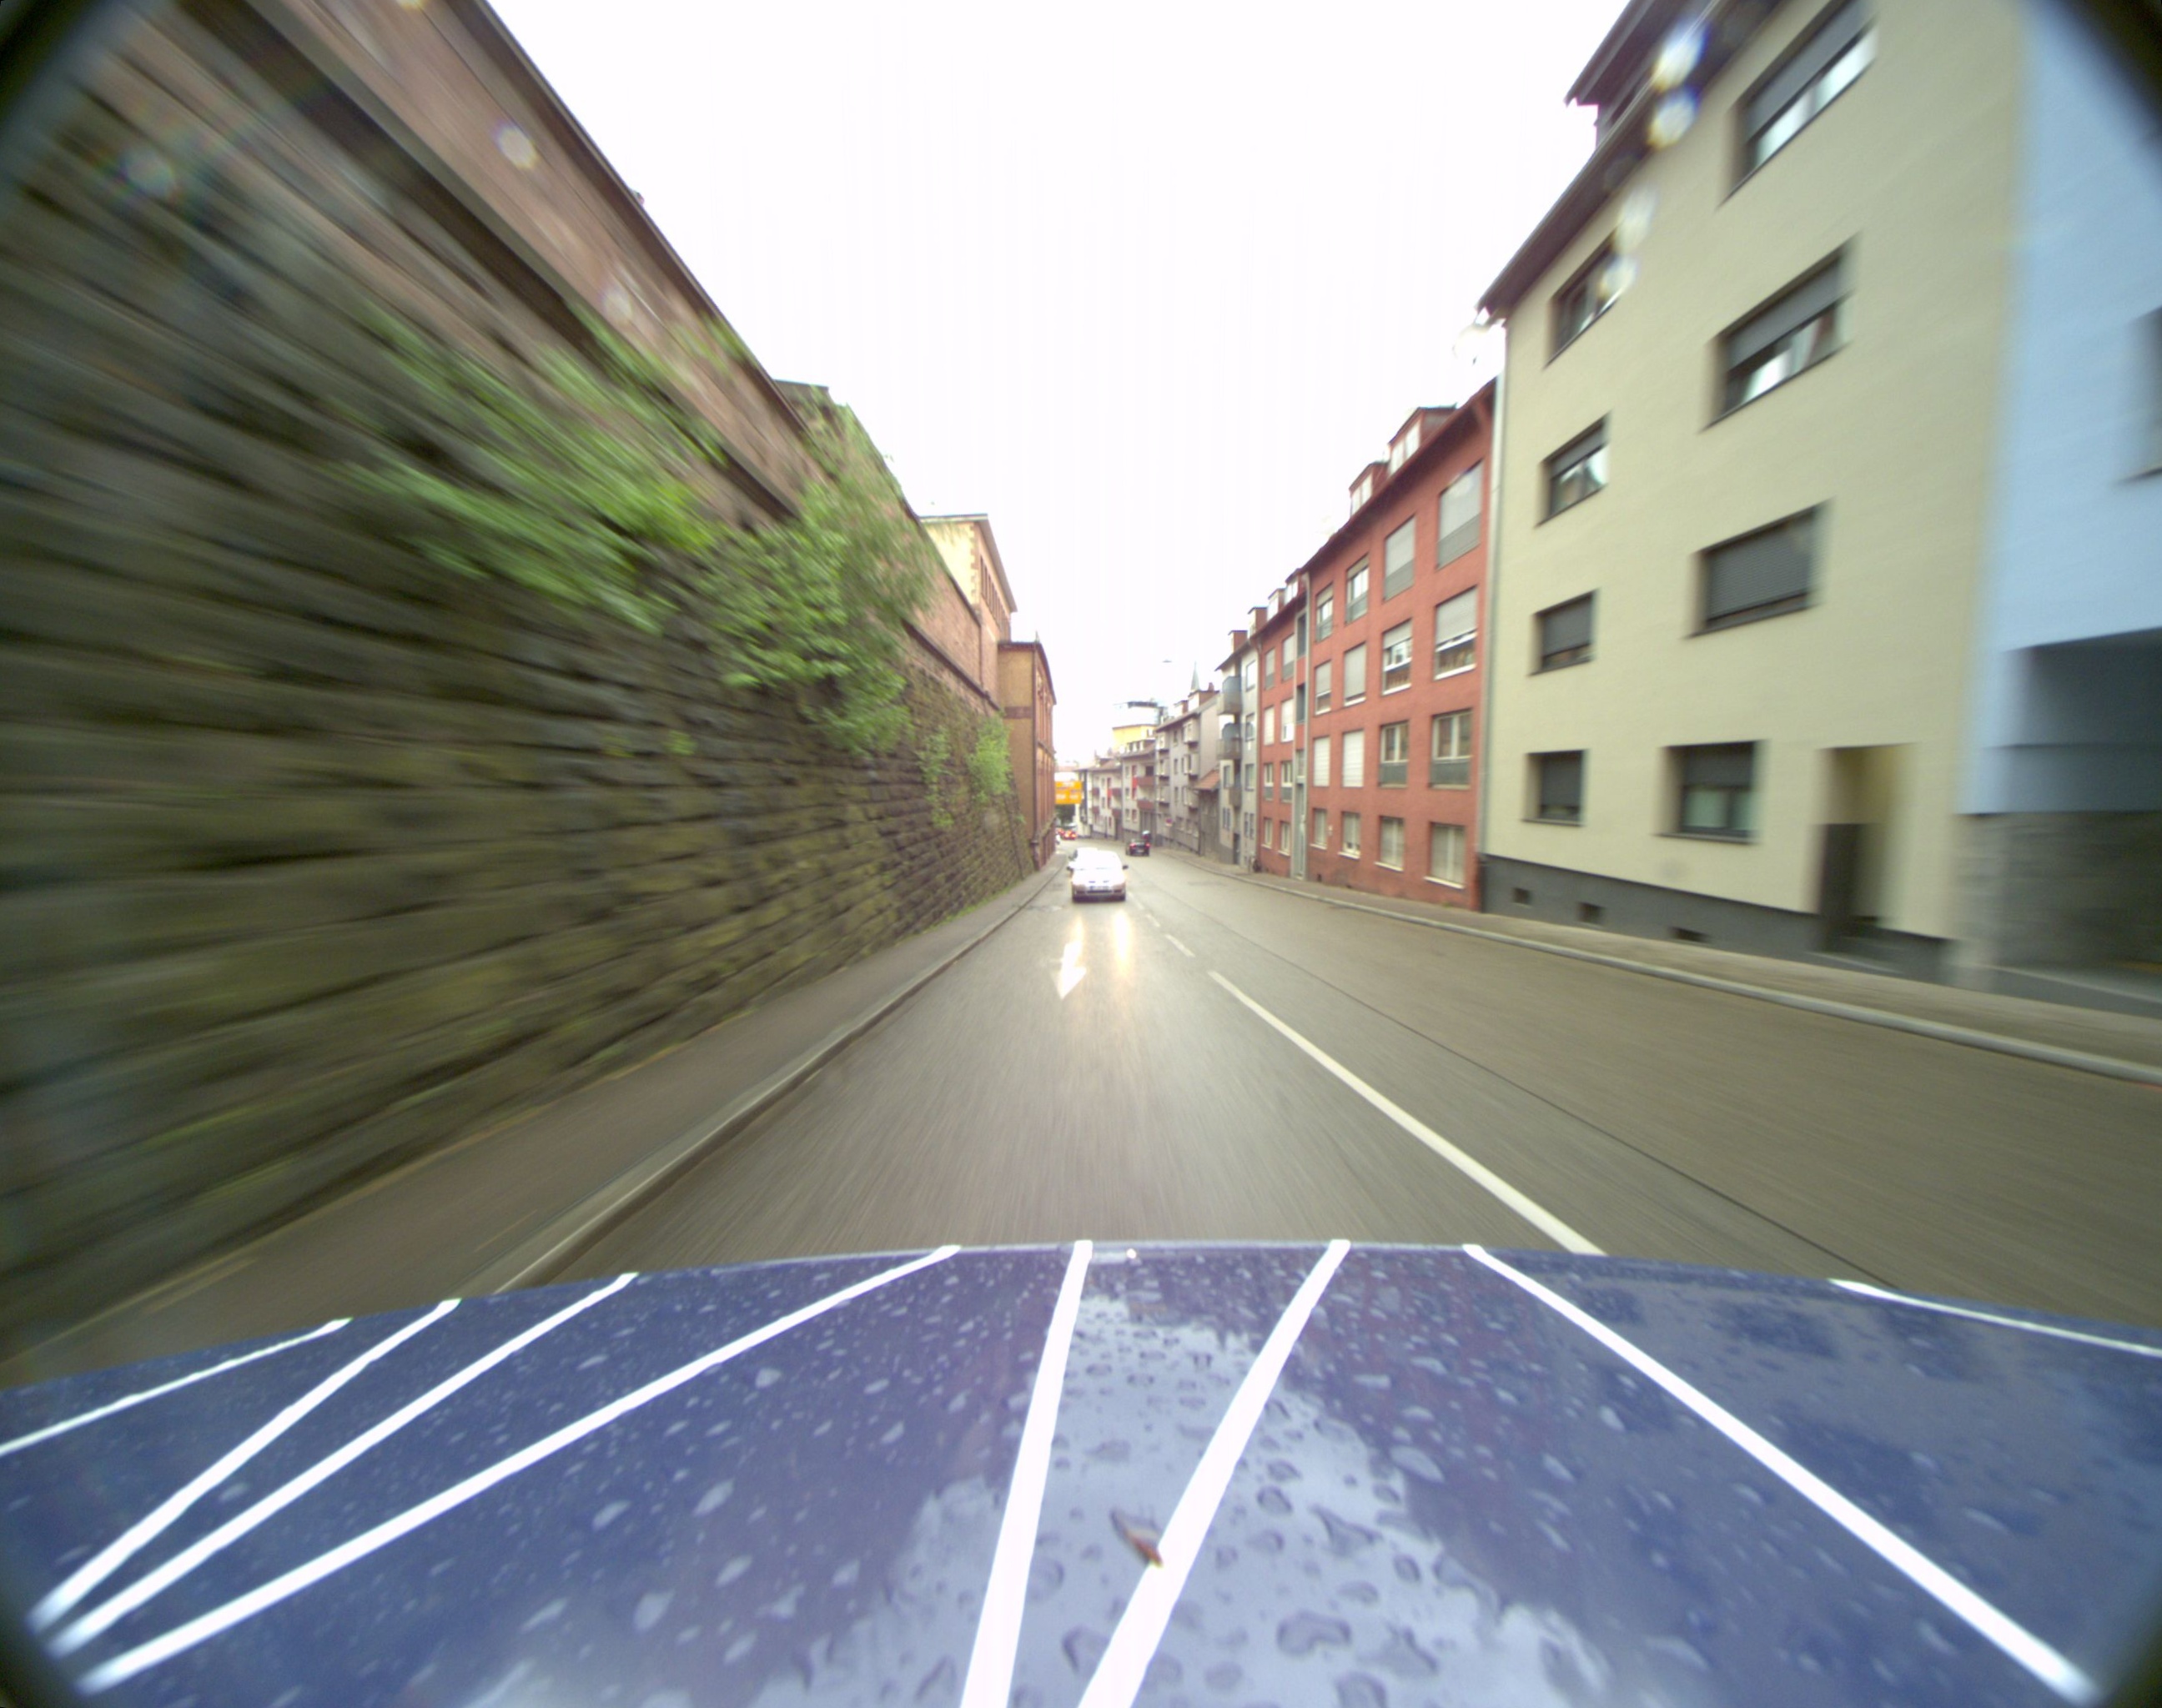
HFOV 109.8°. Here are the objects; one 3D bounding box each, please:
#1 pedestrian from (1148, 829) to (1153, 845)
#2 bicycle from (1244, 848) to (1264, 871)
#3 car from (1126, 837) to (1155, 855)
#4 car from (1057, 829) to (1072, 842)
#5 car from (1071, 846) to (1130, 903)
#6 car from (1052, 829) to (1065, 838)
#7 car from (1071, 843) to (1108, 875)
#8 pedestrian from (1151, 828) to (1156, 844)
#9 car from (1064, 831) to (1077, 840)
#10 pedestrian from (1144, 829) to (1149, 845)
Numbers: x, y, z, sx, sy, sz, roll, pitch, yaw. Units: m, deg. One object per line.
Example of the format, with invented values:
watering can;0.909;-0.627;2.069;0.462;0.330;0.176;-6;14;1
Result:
pedestrian;7.793;-1.960;85.383;0.381;1.770;0.499;-3;3;-9
bicycle;9.092;0.287;40.056;0.572;1.111;2.039;-3;2;2
car;5.197;-0.718;66.699;1.999;1.470;3.997;1;2;-3
car;-2.302;-2.490;103.107;1.638;1.521;3.998;-2;0;-6
car;0.591;0.593;24.874;1.720;1.528;3.998;-2;2;0
car;-4.194;-3.863;141.512;1.835;1.694;4.072;-3;2;-8
car;0.412;0.240;41.591;1.720;1.528;3.997;-3;2;-3
pedestrian;8.179;-1.978;85.436;0.355;1.770;0.499;-3;3;-9
car;-1.674;-3.046;122.170;1.714;1.317;3.367;-3;2;-8
pedestrian;7.400;-1.941;85.318;0.387;1.770;0.499;-3;3;-9
